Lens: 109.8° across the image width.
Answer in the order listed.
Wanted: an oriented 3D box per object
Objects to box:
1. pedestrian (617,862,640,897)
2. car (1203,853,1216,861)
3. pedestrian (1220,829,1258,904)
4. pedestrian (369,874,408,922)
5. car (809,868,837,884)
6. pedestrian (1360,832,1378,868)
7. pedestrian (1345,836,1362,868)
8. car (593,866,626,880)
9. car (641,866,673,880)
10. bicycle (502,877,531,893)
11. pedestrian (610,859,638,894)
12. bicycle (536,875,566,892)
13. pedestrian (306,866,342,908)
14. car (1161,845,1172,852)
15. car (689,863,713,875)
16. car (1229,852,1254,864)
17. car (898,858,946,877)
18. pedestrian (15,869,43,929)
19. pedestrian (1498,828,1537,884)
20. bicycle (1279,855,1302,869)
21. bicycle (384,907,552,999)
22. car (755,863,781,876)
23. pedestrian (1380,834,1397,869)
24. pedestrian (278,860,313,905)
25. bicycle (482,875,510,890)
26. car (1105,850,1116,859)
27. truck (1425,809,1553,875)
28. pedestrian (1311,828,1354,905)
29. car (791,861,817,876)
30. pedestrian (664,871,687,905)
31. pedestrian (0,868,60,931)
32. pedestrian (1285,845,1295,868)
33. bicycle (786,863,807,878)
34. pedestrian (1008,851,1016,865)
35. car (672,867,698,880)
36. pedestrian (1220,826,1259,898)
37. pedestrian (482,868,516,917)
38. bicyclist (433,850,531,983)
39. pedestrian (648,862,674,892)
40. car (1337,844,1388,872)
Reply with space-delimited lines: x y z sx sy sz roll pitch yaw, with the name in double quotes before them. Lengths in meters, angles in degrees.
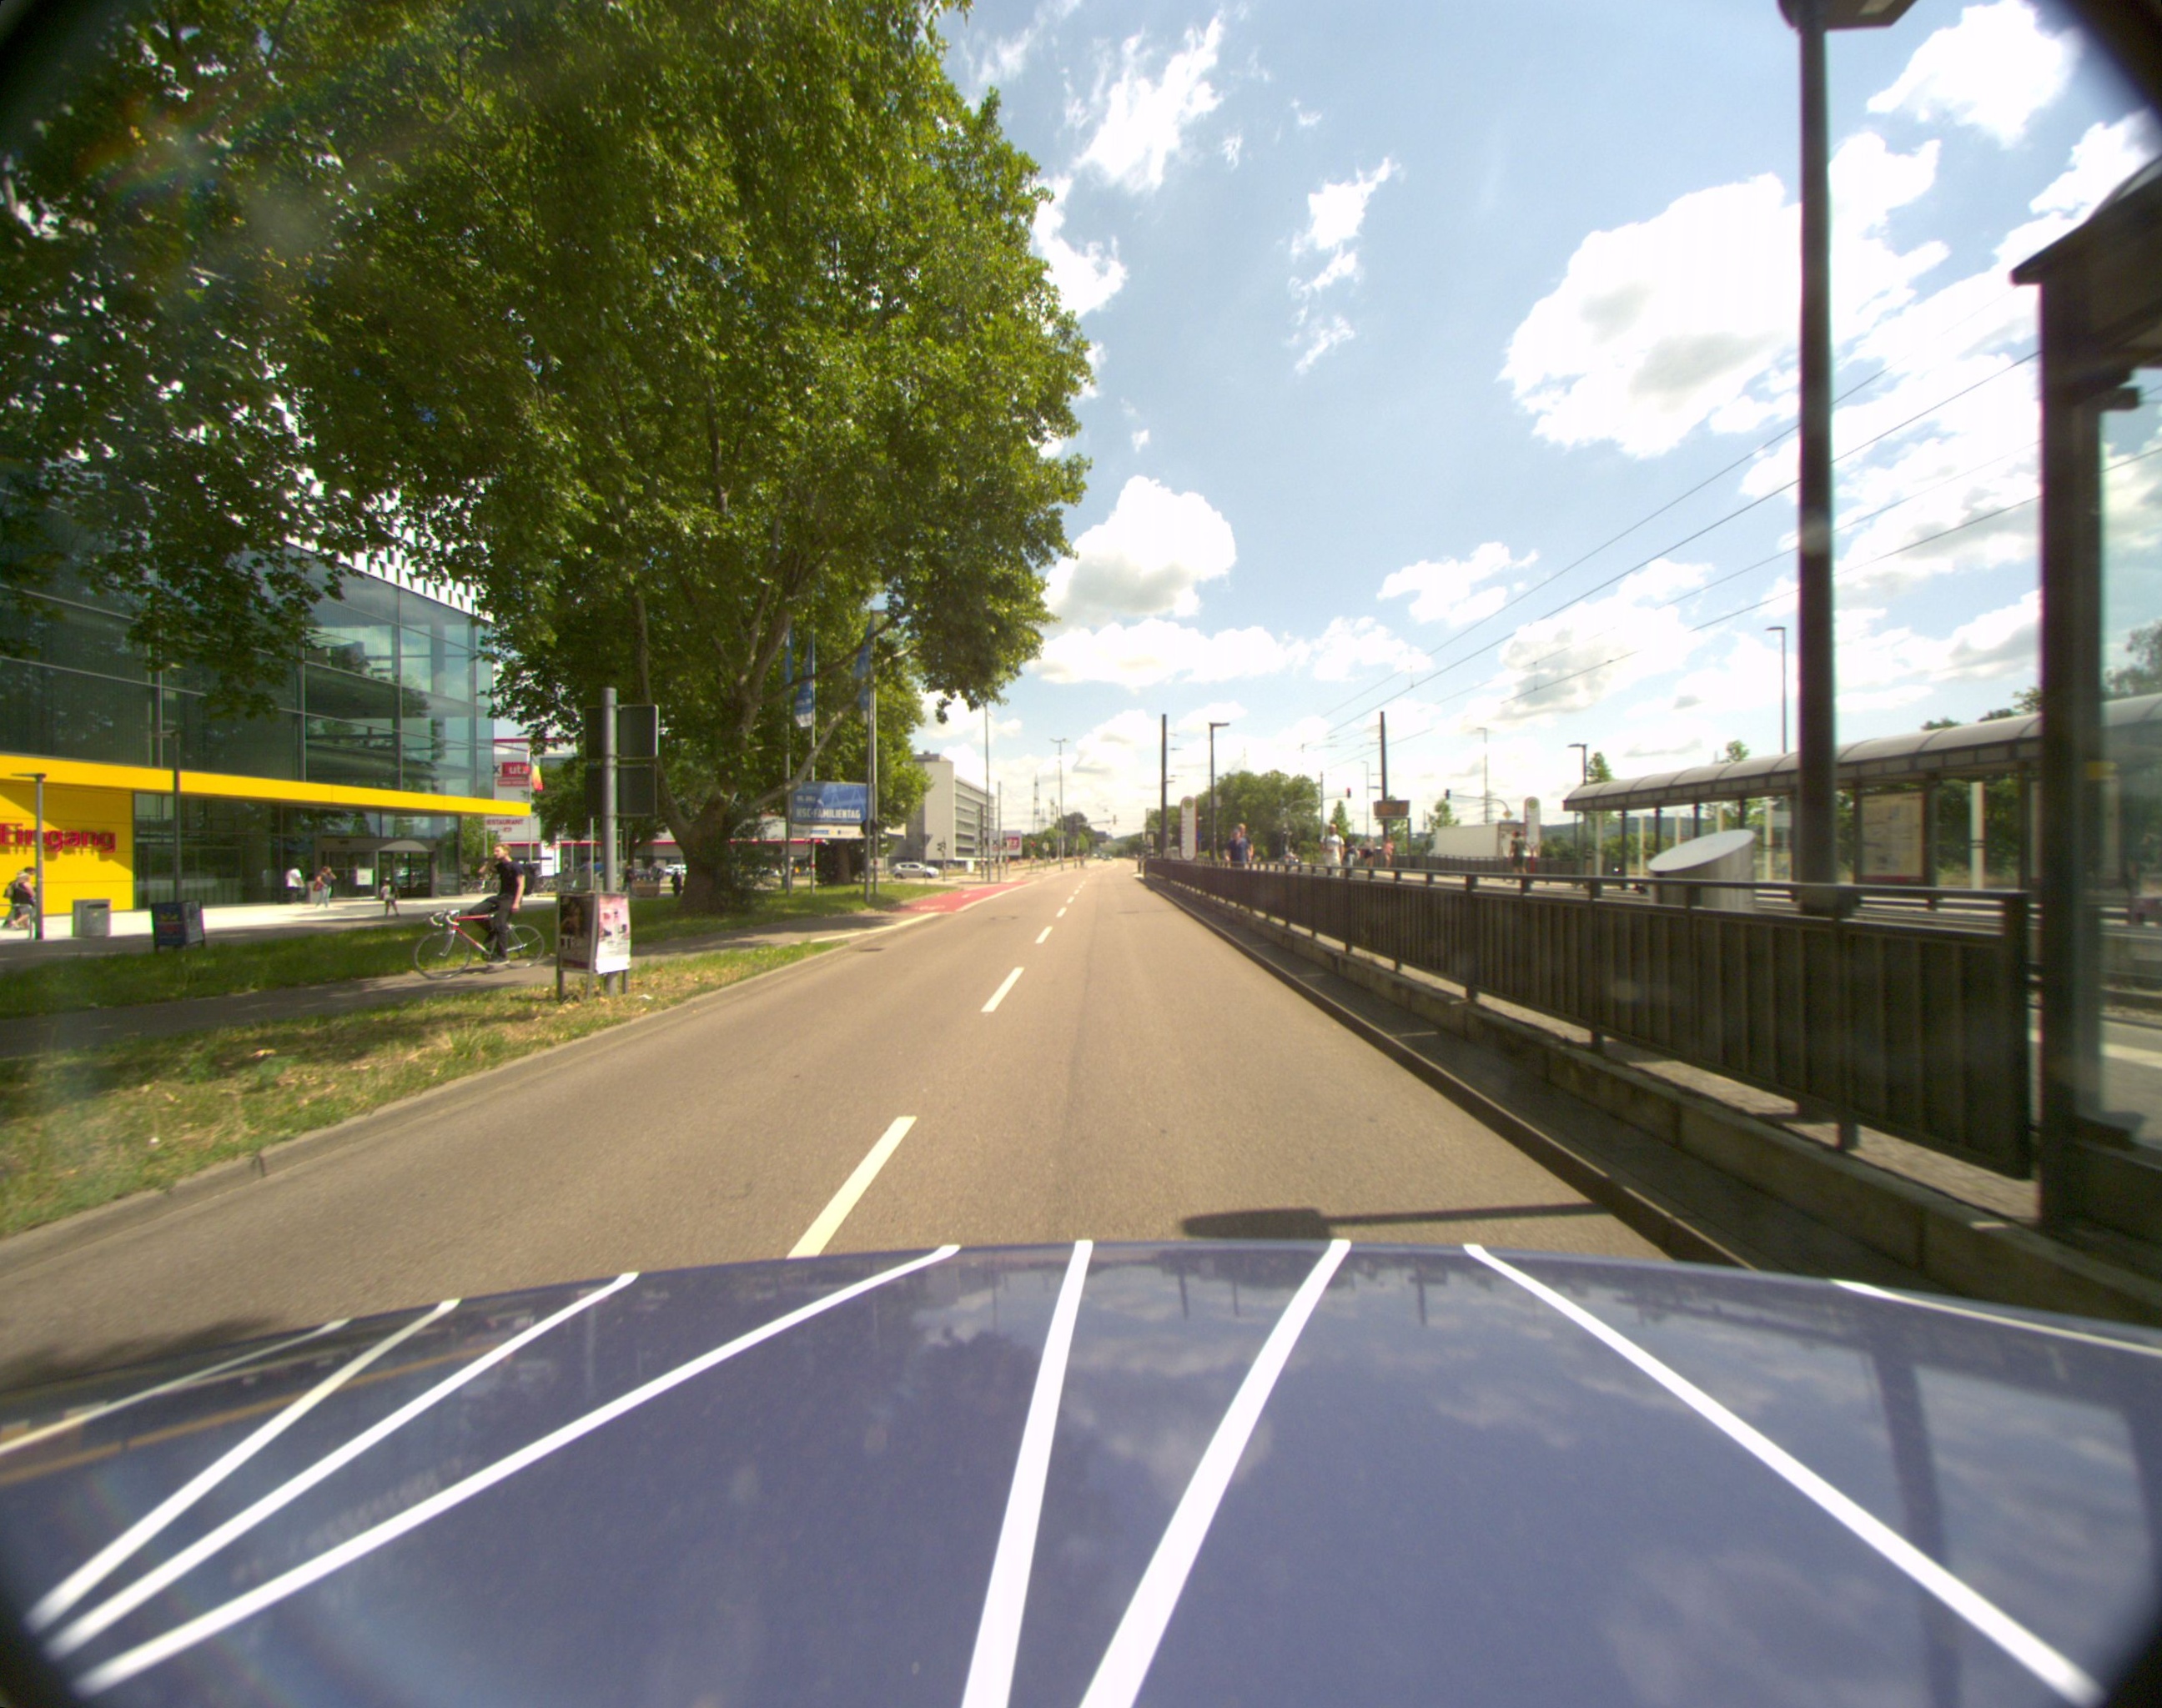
"pedestrian" -24.832 1.377 41.662 0.889 1.875 0.971 -1 1 -41
"car" 24.482 0.563 144.972 1.669 1.400 3.891 -2 0 -4
"pedestrian" 3.822 0.300 18.461 0.735 1.745 0.930 -2 0 3
"pedestrian" -24.779 1.566 27.179 0.591 1.606 0.666 -10 -3 -1
"car" -34.025 2.874 100.495 1.998 1.977 4.364 -1 -1 3
"pedestrian" 14.377 -0.185 37.925 0.636 1.738 0.678 -3 0 6
"pedestrian" 14.924 -0.094 41.628 0.729 1.711 0.525 -2 0 7
"car" -70.107 2.875 113.120 1.998 1.977 4.364 -1 -1 3
"car" -62.958 2.820 112.946 1.998 1.978 4.363 -1 1 3
"bicycle" -36.063 1.976 48.556 0.464 0.989 1.868 -2 0 0
"pedestrian" -26.958 1.300 44.827 0.972 2.060 1.012 0 0 18
"bicycle" -33.722 1.878 48.392 0.423 0.988 1.869 -2 -1 5
"pedestrian" -30.025 1.299 30.141 0.805 1.654 0.702 0 0 -26
"car" 23.791 -1.404 211.410 1.996 1.797 5.142 -1 -1 19
"car" -64.108 2.529 128.240 1.775 2.002 4.001 -2 0 3
"car" 24.710 0.659 117.091 1.885 1.763 4.661 -1 -1 -14
"car" -13.924 1.175 66.684 3.830 1.461 1.900 -2 2 0
"pedestrian" -29.961 1.267 21.641 0.543 1.691 0.422 -2 -1 40
"pedestrian" 14.330 0.061 24.947 0.735 1.797 0.930 -2 0 3
"bicycle" 16.568 0.631 60.105 1.720 1.081 0.621 -2 0 5
"bicycle" -8.616 1.350 10.820 0.621 0.993 2.024 -2 1 3
"car" -47.936 2.341 116.484 1.998 1.977 4.364 -1 -1 3
"pedestrian" 15.211 -0.135 37.606 0.600 1.711 0.708 -2 0 6
"pedestrian" -33.394 1.185 32.323 0.617 1.875 0.783 -2 0 13
"bicycle" -42.373 2.056 55.082 0.423 1.028 1.869 -2 -1 5
"car" 6.617 0.150 169.933 1.997 2.001 4.004 -2 -1 10
"truck" 28.581 -0.751 54.151 2.949 4.080 11.999 -2 0 2
"pedestrian" 6.085 0.291 18.413 0.735 1.797 0.930 -2 0 3
"car" -40.549 2.137 111.362 1.998 1.978 4.598 0 1 3
"pedestrian" -19.660 1.644 36.874 0.719 1.653 0.593 2 -1 7
"pedestrian" -28.938 1.247 20.810 0.889 1.653 0.784 -3 -1 -34
"pedestrian" 16.522 0.204 60.102 0.671 1.758 0.613 -2 0 5
"bicycle" -32.798 1.952 87.617 2.046 1.665 1.021 -2 -1 4
"pedestrian" -9.505 0.584 104.317 0.868 1.827 0.796 -2 3 -25
"car" -66.950 3.283 128.613 1.998 1.977 4.364 0 -1 3
"pedestrian" 4.391 0.220 21.115 0.875 1.927 0.994 -1 -1 2
"pedestrian" -21.200 1.404 27.703 0.665 1.761 0.669 -1 1 5
"bicyclist" -8.618 0.870 10.975 0.610 1.835 0.924 -1 1 3
"pedestrian" -26.089 1.419 47.248 0.972 1.891 1.012 0 0 18
"car" 19.187 0.262 52.047 1.998 1.809 4.668 -1 -1 3
